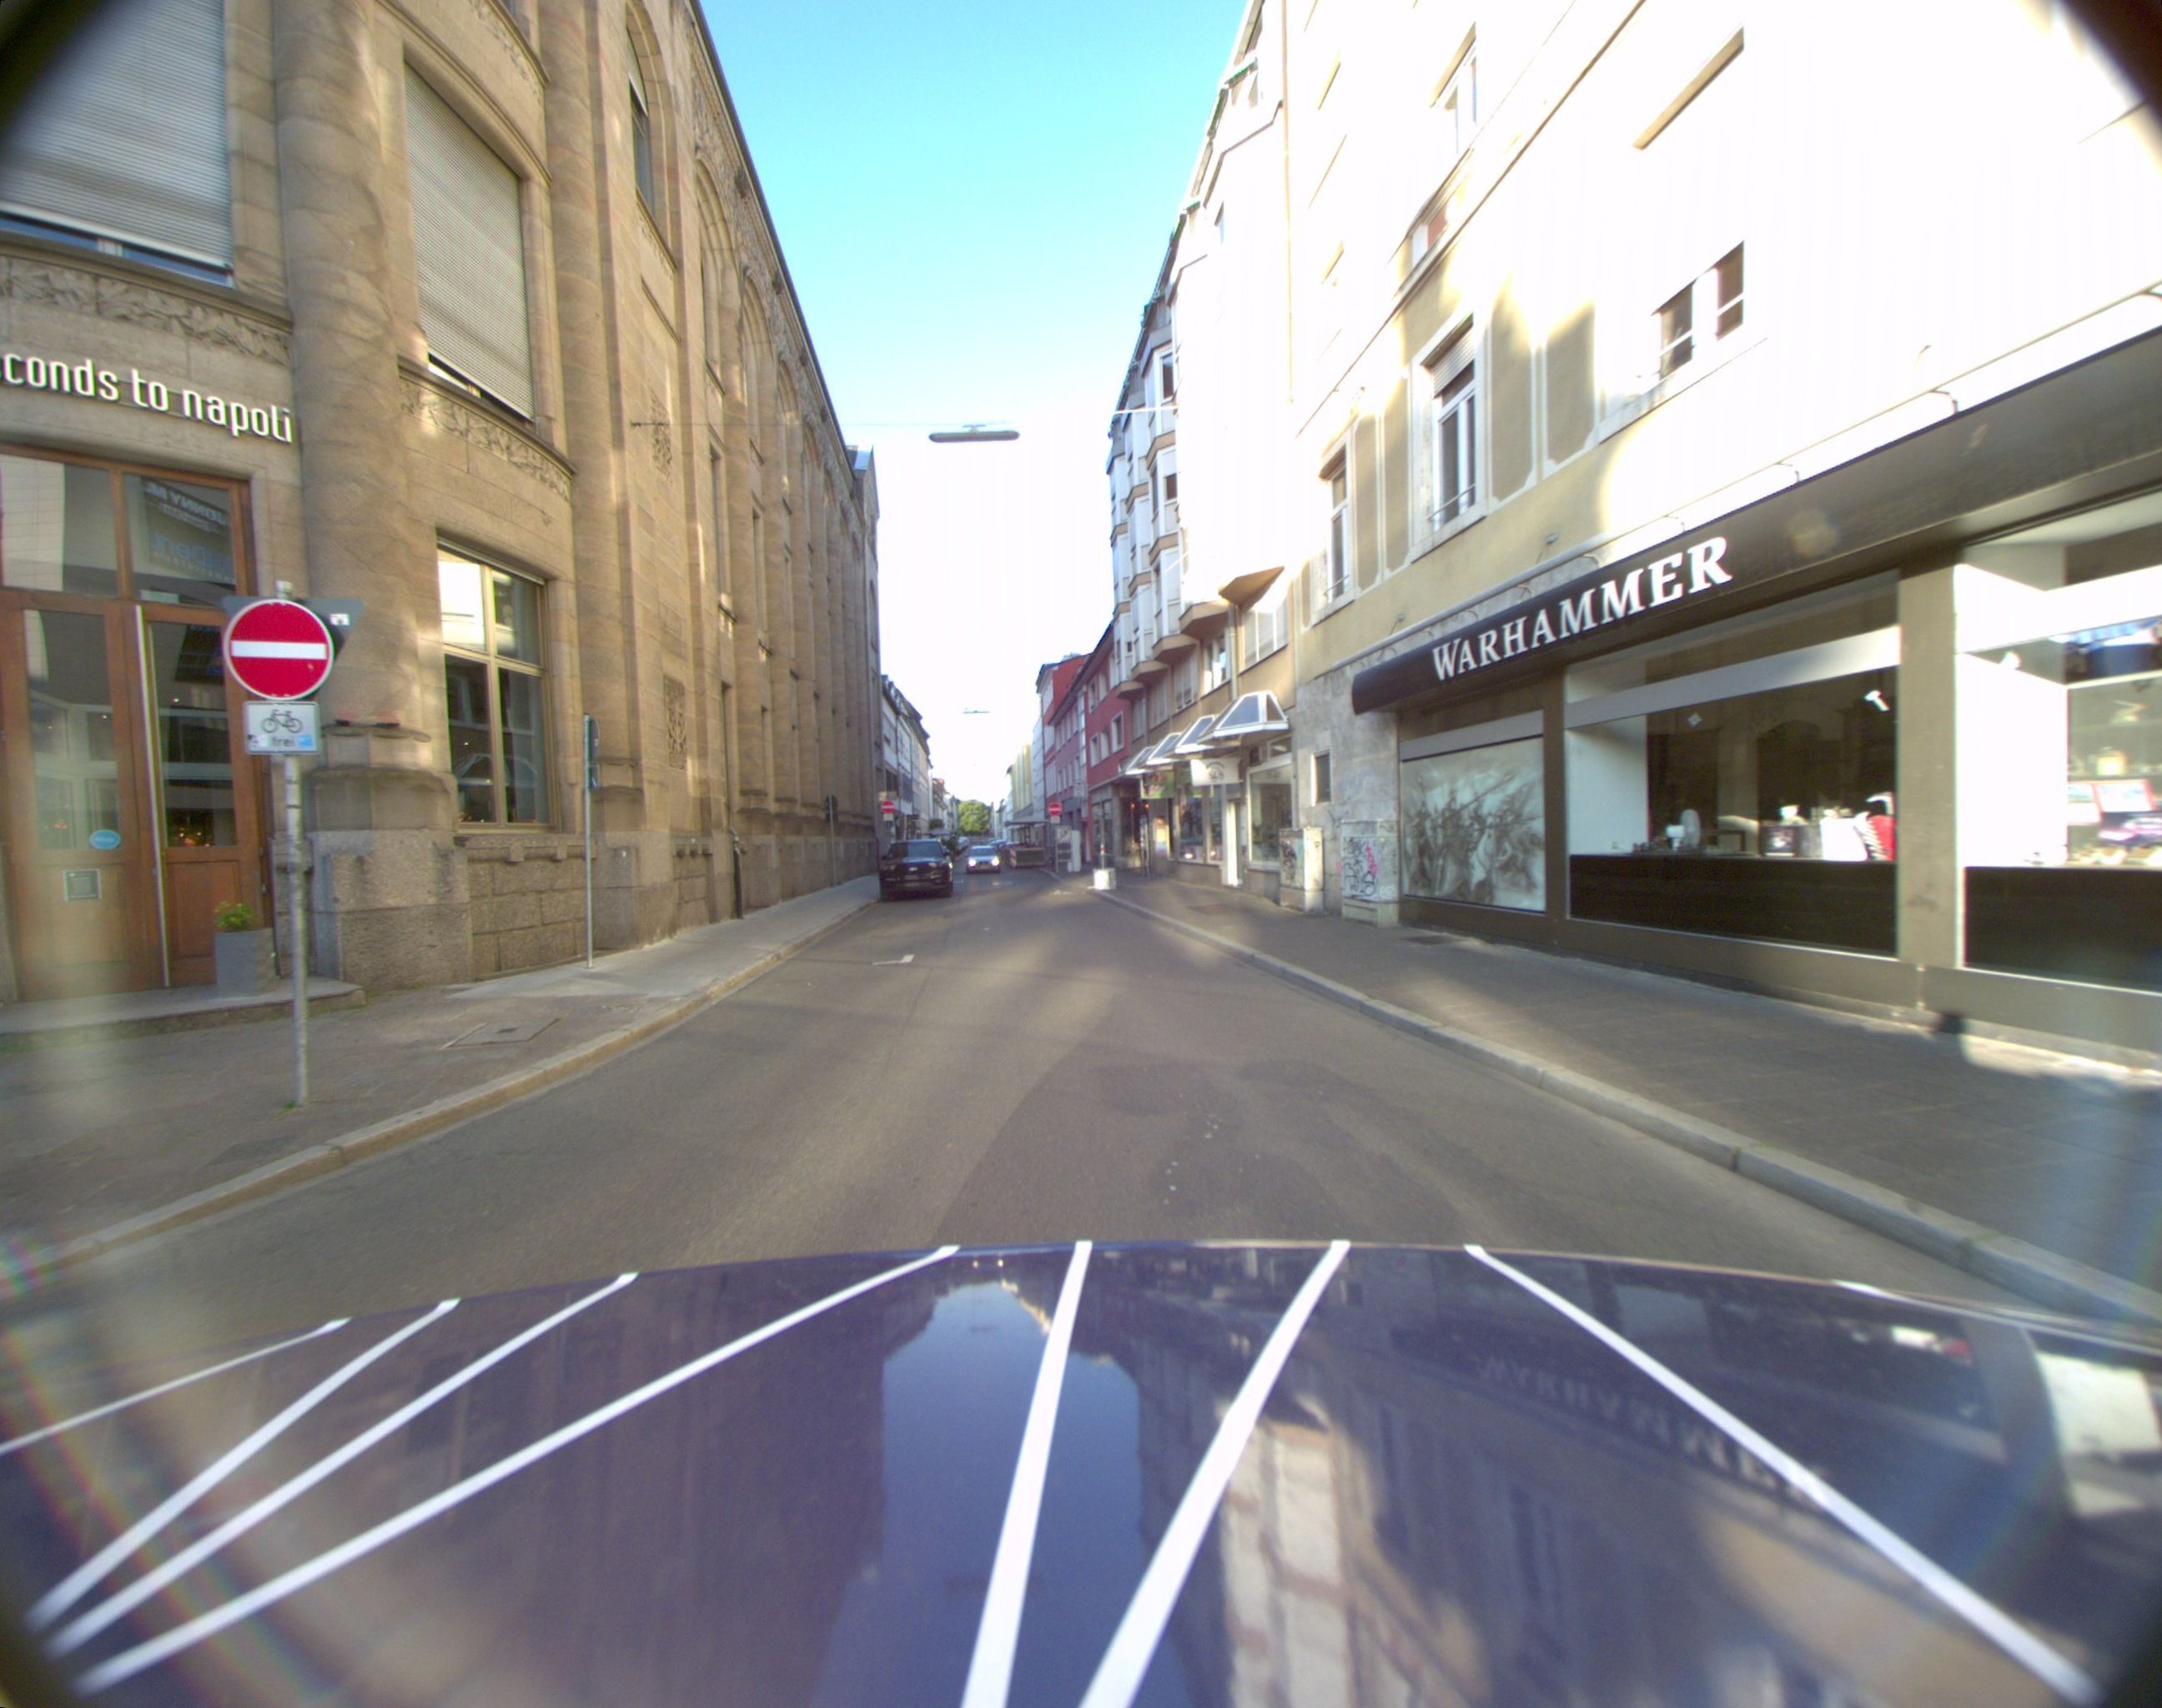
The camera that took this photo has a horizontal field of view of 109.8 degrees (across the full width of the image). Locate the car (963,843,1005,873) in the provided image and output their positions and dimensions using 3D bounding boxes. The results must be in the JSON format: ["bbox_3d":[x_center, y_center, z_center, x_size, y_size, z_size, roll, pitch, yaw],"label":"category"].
[{"bbox_3d":[-5.192,0.172,40.478,2.000,1.414,4.454,-3,1,-8],"label":"car"}]

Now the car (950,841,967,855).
[{"bbox_3d":[-15.904,-0.754,99.040,2.000,1.667,4.454,-3,1,-8],"label":"car"}]

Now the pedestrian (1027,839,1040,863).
[{"bbox_3d":[-2.933,-0.181,46.569,0.612,1.464,0.546,-4,3,-16],"label":"pedestrian"}]

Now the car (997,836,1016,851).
[{"bbox_3d":[-9.337,-1.309,94.940,2.000,1.667,4.454,-3,1,-8],"label":"car"}]

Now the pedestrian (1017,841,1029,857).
[{"bbox_3d":[-3.746,-0.326,49.179,0.612,1.057,0.546,-4,3,-16],"label":"pedestrian"}]

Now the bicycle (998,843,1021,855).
[{"bbox_3d":[-8.015,-0.580,85.515,2.482,1.172,0.783,-3,2,-2],"label":"bicycle"}]

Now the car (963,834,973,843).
[{"bbox_3d":[-25.988,-3.504,174.751,2.000,1.884,4.454,-3,1,-8],"label":"car"}]

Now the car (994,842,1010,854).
[{"bbox_3d":[-10.467,-0.844,100.458,2.000,1.463,4.454,-3,1,-8],"label":"car"}]

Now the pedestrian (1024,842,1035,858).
[{"bbox_3d":[-3.382,-0.272,49.937,0.603,1.057,0.546,-4,3,-16],"label":"pedestrian"}]

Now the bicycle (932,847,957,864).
[{"bbox_3d":[-10.893,0.110,60.576,1.875,1.295,0.596,1,1,-8],"label":"bicycle"}]

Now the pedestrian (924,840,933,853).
[{"bbox_3d":[-14.810,-0.723,74.003,0.737,1.236,0.645,-3,2,-6],"label":"pedestrian"}]

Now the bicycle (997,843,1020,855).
[{"bbox_3d":[-8.056,-0.600,84.592,2.482,1.172,0.783,-3,2,-2],"label":"bicycle"}]

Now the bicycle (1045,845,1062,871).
[{"bbox_3d":[-1.326,0.191,36.357,0.545,1.185,1.840,-3,1,-8],"label":"bicycle"}]

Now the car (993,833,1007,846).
[{"bbox_3d":[-13.047,-2.339,122.375,2.000,2.030,4.454,-3,1,-8],"label":"car"}]

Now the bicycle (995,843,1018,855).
[{"bbox_3d":[-8.668,-0.589,88.551,2.482,1.172,0.783,-3,2,-2],"label":"bicycle"}]

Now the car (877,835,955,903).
[{"bbox_3d":[-4.964,0.379,23.469,2.000,1.773,4.929,-3,1,-9],"label":"car"}]

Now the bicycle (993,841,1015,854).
[{"bbox_3d":[-9.245,-0.772,91.359,2.482,1.323,0.783,-3,2,-2],"label":"bicycle"}]

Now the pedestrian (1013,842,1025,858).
[{"bbox_3d":[-4.285,-0.304,52.449,0.634,1.061,0.559,-4,3,-16],"label":"pedestrian"}]
